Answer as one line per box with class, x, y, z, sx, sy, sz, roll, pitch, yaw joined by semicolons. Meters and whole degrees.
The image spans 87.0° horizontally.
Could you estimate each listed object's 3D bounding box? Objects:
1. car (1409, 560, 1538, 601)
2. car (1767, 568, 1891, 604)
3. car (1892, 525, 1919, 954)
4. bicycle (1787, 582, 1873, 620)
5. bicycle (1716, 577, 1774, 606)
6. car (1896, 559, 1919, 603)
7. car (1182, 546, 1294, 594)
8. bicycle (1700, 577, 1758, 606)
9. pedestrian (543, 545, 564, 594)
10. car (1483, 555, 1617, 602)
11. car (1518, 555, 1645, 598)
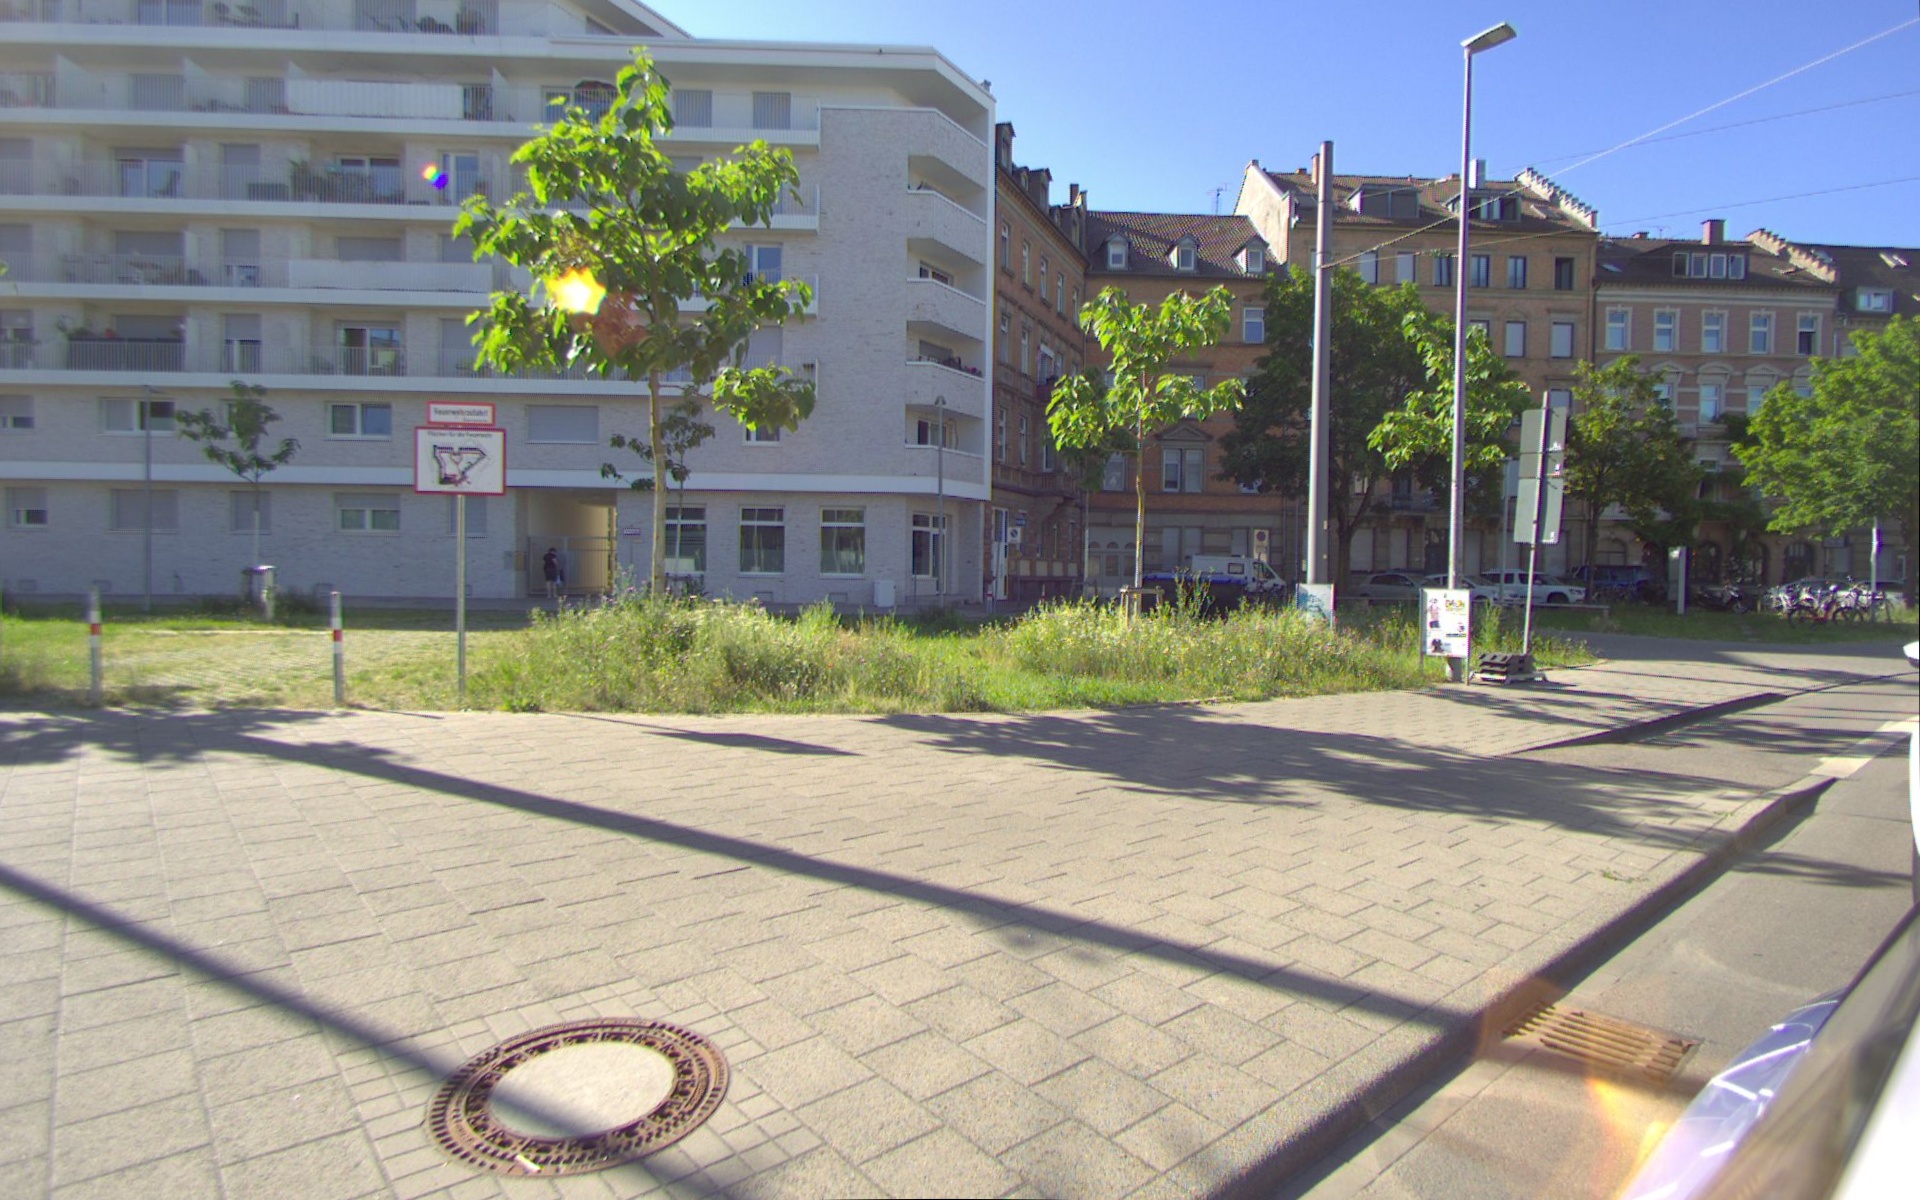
car;19.660;-0.770;38.874;1.964;1.482;3.997;0;2;-38
car;34.328;-0.582;40.054;1.701;1.348;3.463;0;2;-38
car;5.862;0.537;4.625;4.262;1.650;1.872;-1;2;-41
bicycle;24.881;0.019;28.965;1.742;1.037;0.564;1;1;23
bicycle;29.349;-0.339;37.867;0.442;1.037;1.766;0;2;-15
car;40.556;-0.731;40.153;1.701;1.793;4.791;0;2;-38
car;12.798;-1.376;46.769;4.553;2.139;2.001;1;1;-1
bicycle;28.427;-0.339;37.437;0.442;1.037;1.766;0;2;-15
pedestrian;-14.013;-1.055;34.893;0.513;1.668;0.470;1;1;2
car;22.598;-0.843;38.885;1.964;1.682;3.997;0;2;-38
car;25.543;-0.970;41.686;1.964;1.682;3.997;0;2;-38
